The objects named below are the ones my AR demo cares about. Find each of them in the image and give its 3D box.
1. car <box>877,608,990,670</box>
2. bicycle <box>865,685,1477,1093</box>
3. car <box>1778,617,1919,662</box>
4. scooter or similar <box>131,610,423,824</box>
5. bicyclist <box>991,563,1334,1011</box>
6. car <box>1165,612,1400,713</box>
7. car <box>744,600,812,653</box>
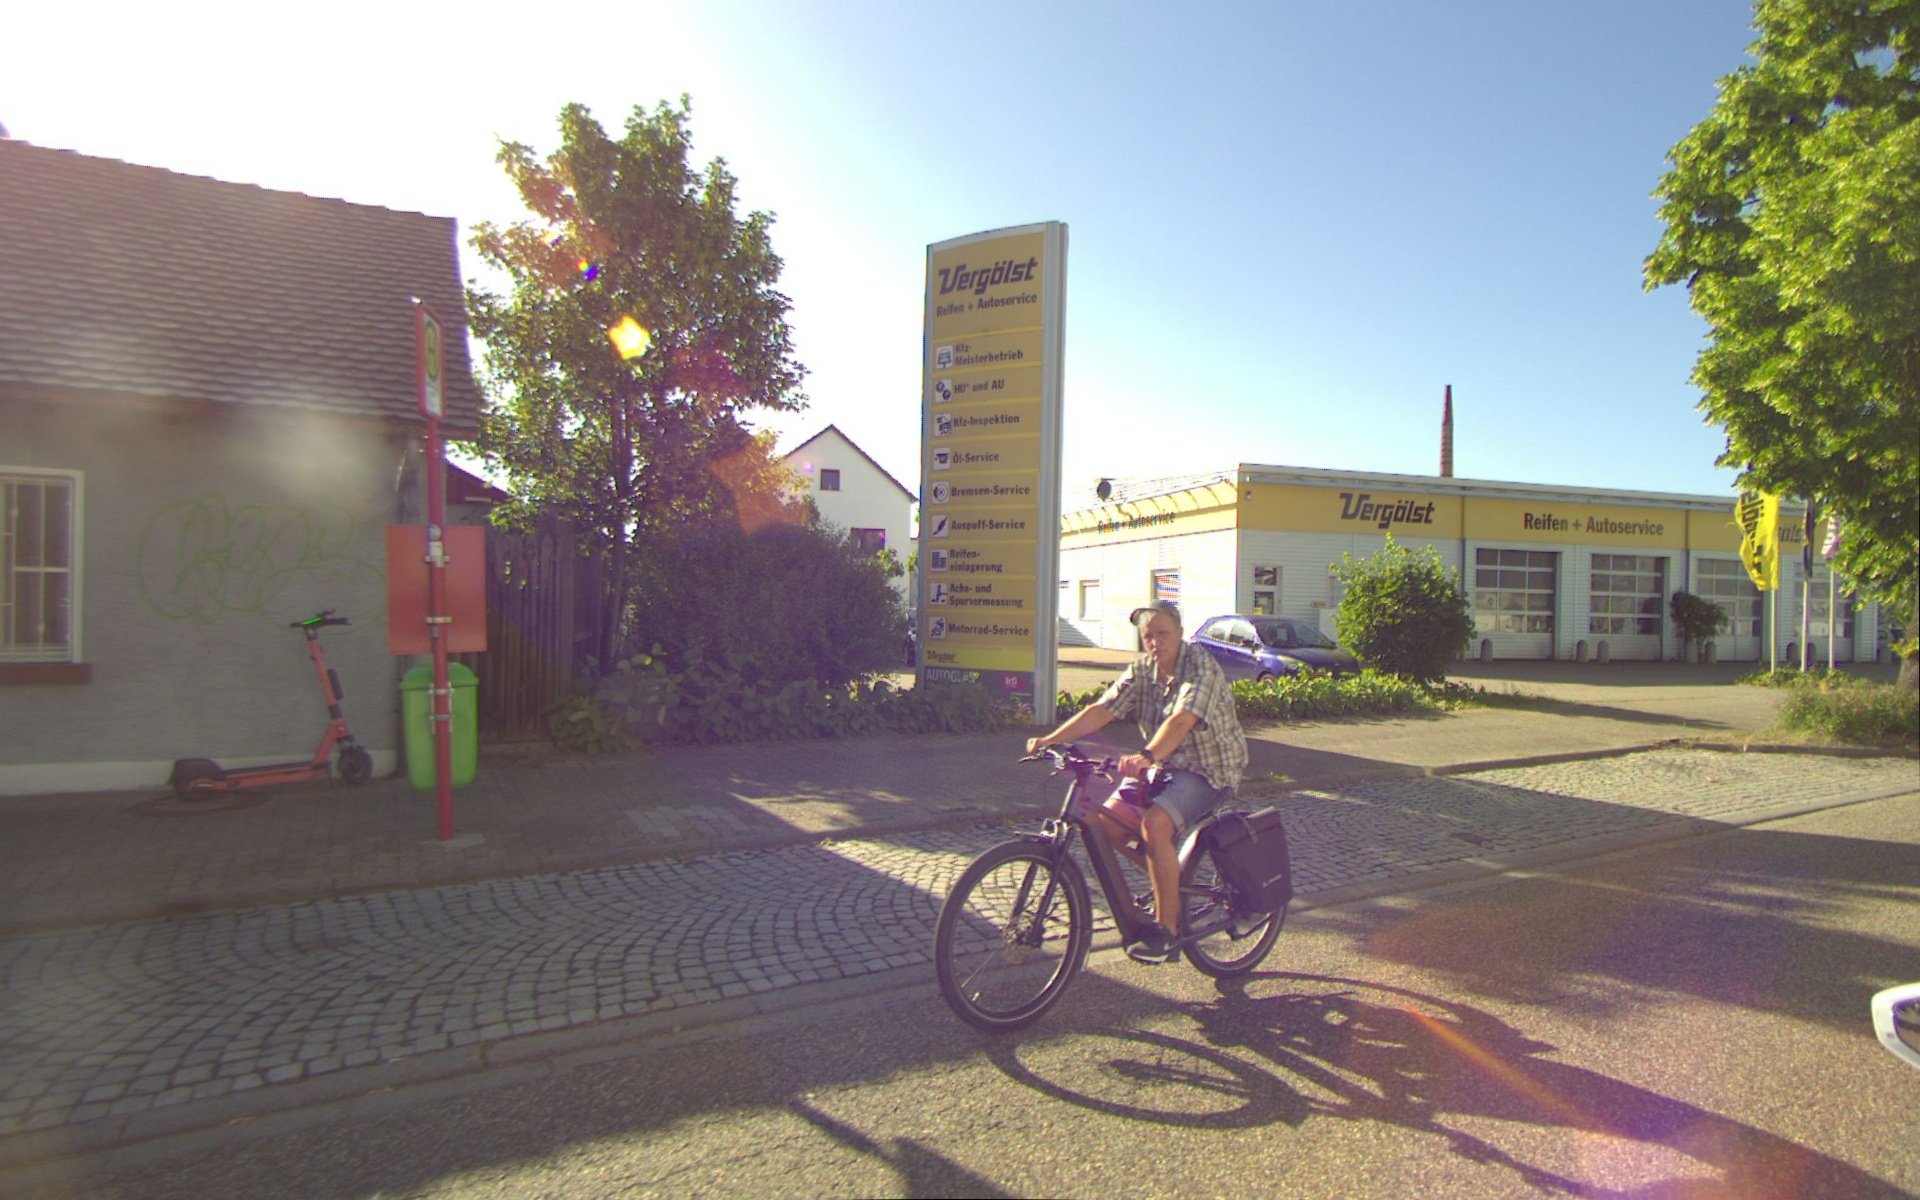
[{"bbox_3d":[-0.826,1.023,27.756,1.968,1.528,4.441,1,0,-17],"label":"car"},{"bbox_3d":[0.956,1.013,4.221,2.571,1.256,0.836,2,-3,-28],"label":"bicycle"},{"bbox_3d":[35.544,1.531,40.067,1.887,1.595,4.153,1,0,-20],"label":"car"},{"bbox_3d":[-4.601,0.726,6.852,0.476,1.287,1.570,1,0,42],"label":"scooter or similar"},{"bbox_3d":[0.823,0.685,4.166,1.122,1.562,0.836,2,-3,-27],"label":"bicyclist"},{"bbox_3d":[5.598,1.021,18.118,1.967,1.528,4.345,1,0,-16],"label":"car"},{"bbox_3d":[-6.157,0.836,33.655,1.746,1.660,4.057,1,0,-17],"label":"car"}]
